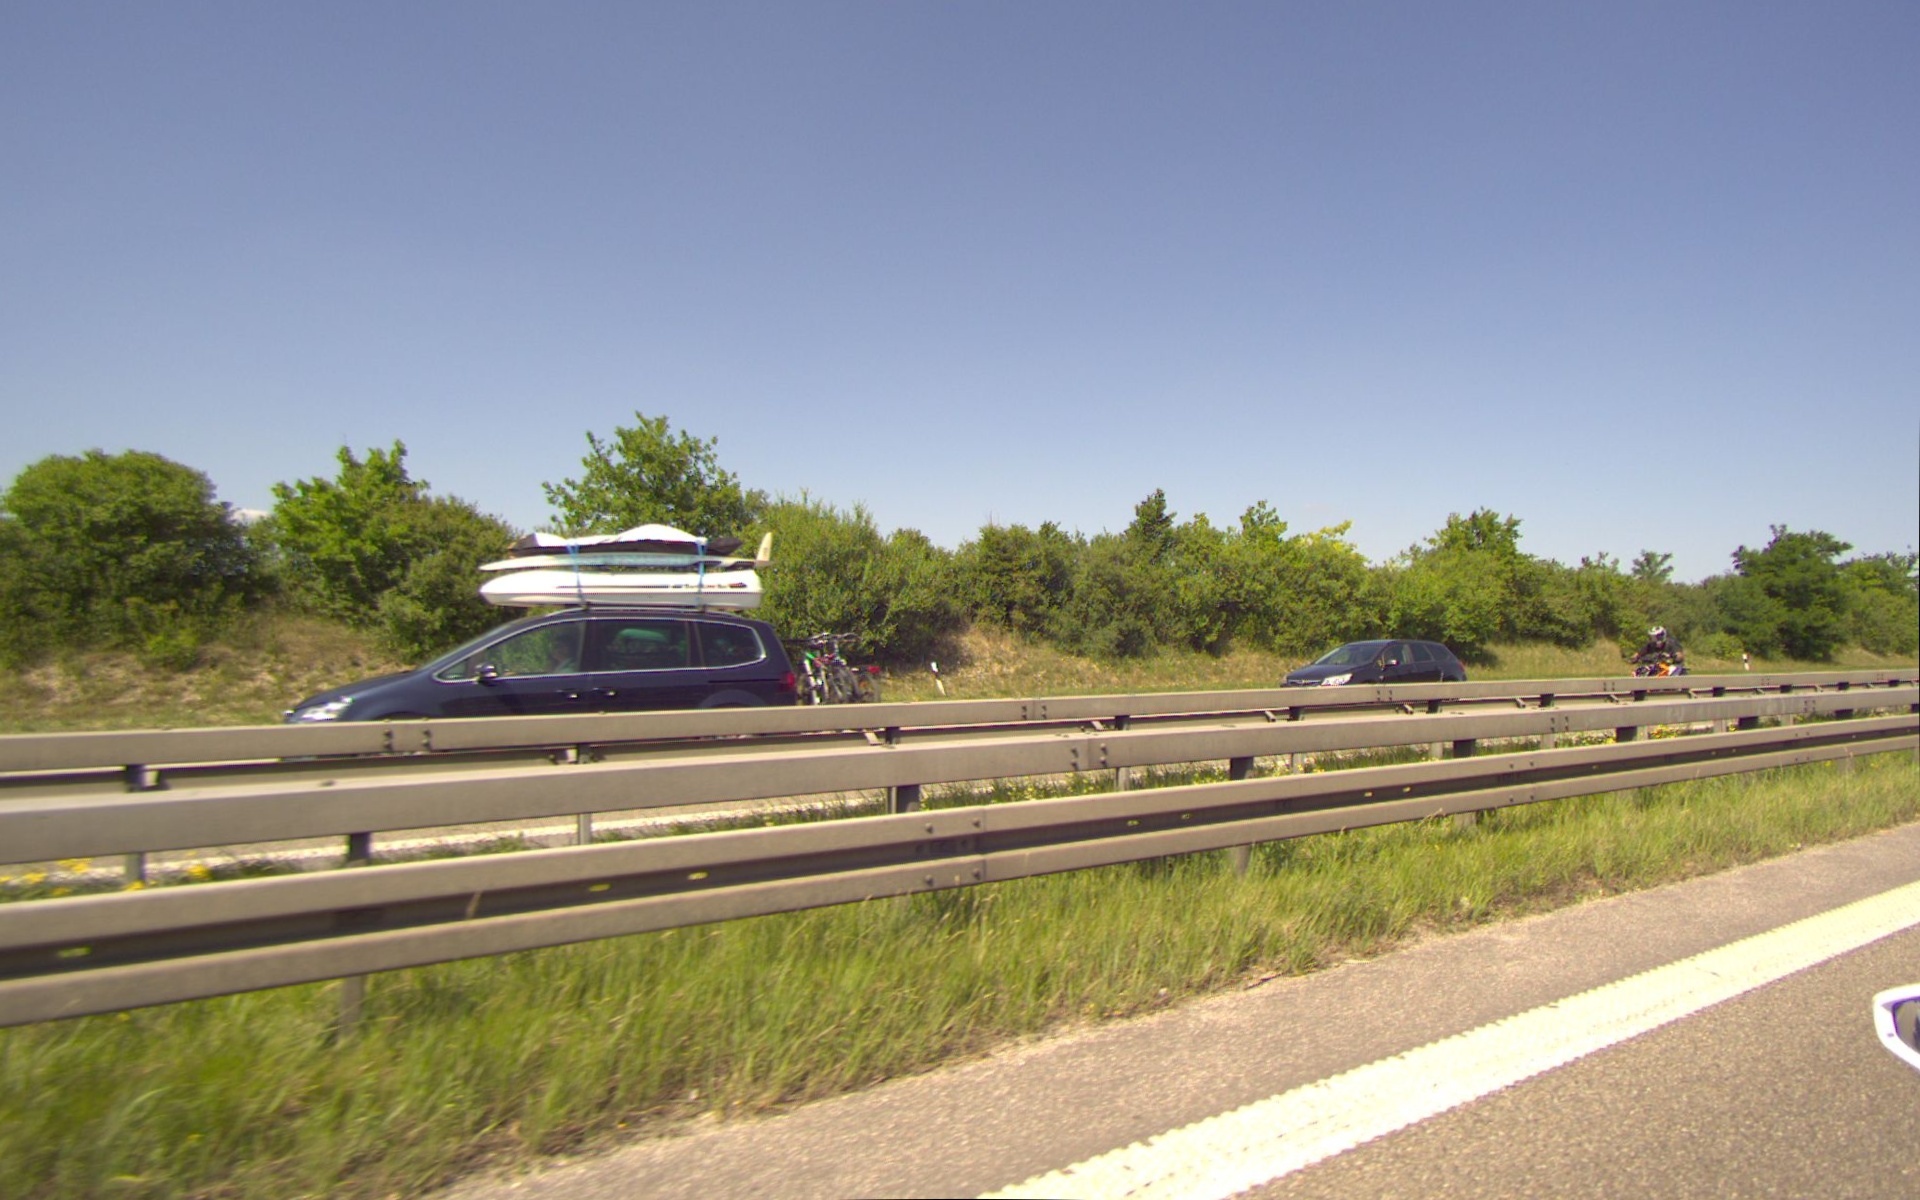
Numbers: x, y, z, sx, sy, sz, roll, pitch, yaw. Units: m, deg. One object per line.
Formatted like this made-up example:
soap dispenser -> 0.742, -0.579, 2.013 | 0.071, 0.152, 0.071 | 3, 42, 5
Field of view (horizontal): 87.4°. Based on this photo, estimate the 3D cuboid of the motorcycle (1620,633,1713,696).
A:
motorcycle -> 12.826, 1.151, 18.220 | 1.859, 1.090, 0.661 | 1, -3, -30

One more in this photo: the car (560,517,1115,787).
car -> -1.212, 0.539, 11.763 | 6.186, 2.492, 1.983 | 1, 0, -32

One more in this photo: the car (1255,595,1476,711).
car -> 8.236, 1.048, 20.347 | 4.252, 2.137, 1.984 | 1, -2, -31

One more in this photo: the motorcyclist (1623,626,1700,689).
motorcyclist -> 12.621, 1.027, 18.079 | 0.801, 1.090, 0.871 | 1, -3, -30
